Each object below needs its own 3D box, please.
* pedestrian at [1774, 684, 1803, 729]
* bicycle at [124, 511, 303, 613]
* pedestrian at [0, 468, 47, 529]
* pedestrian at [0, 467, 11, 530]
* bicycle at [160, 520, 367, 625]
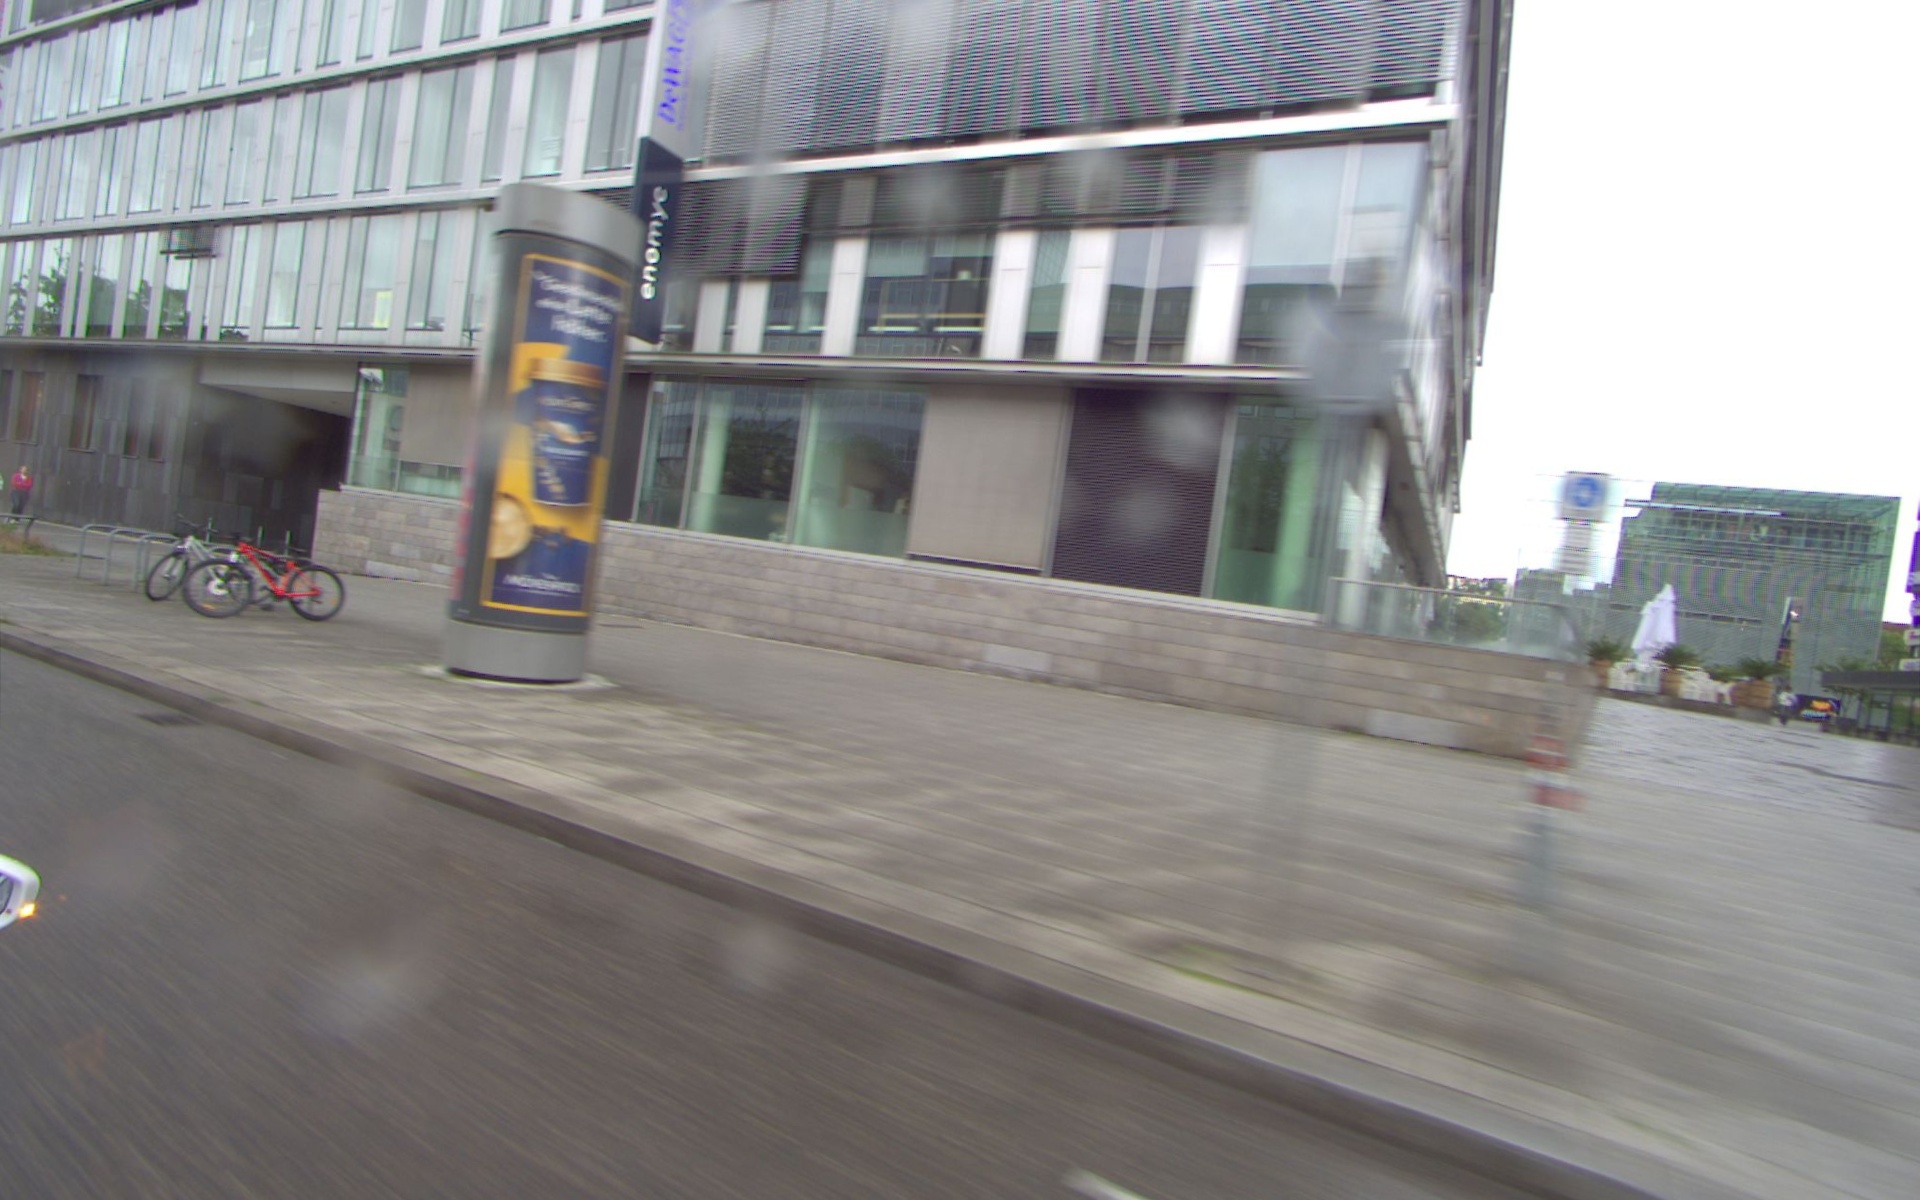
[{"bbox_3d":[36.187,4.647,43.942,0.645,1.862,0.578,7,1,22],"label":"pedestrian"},{"bbox_3d":[-10.387,-0.505,14.067,0.650,1.213,1.836,8,1,35],"label":"bicycle"},{"bbox_3d":[-28.383,-3.067,30.445,1.081,1.713,0.718,7,3,27],"label":"pedestrian"},{"bbox_3d":[-28.703,-3.044,29.514,1.028,1.816,0.901,7,3,27],"label":"pedestrian"},{"bbox_3d":[-8.926,-0.327,12.981,0.795,1.118,1.983,8,1,35],"label":"bicycle"}]
